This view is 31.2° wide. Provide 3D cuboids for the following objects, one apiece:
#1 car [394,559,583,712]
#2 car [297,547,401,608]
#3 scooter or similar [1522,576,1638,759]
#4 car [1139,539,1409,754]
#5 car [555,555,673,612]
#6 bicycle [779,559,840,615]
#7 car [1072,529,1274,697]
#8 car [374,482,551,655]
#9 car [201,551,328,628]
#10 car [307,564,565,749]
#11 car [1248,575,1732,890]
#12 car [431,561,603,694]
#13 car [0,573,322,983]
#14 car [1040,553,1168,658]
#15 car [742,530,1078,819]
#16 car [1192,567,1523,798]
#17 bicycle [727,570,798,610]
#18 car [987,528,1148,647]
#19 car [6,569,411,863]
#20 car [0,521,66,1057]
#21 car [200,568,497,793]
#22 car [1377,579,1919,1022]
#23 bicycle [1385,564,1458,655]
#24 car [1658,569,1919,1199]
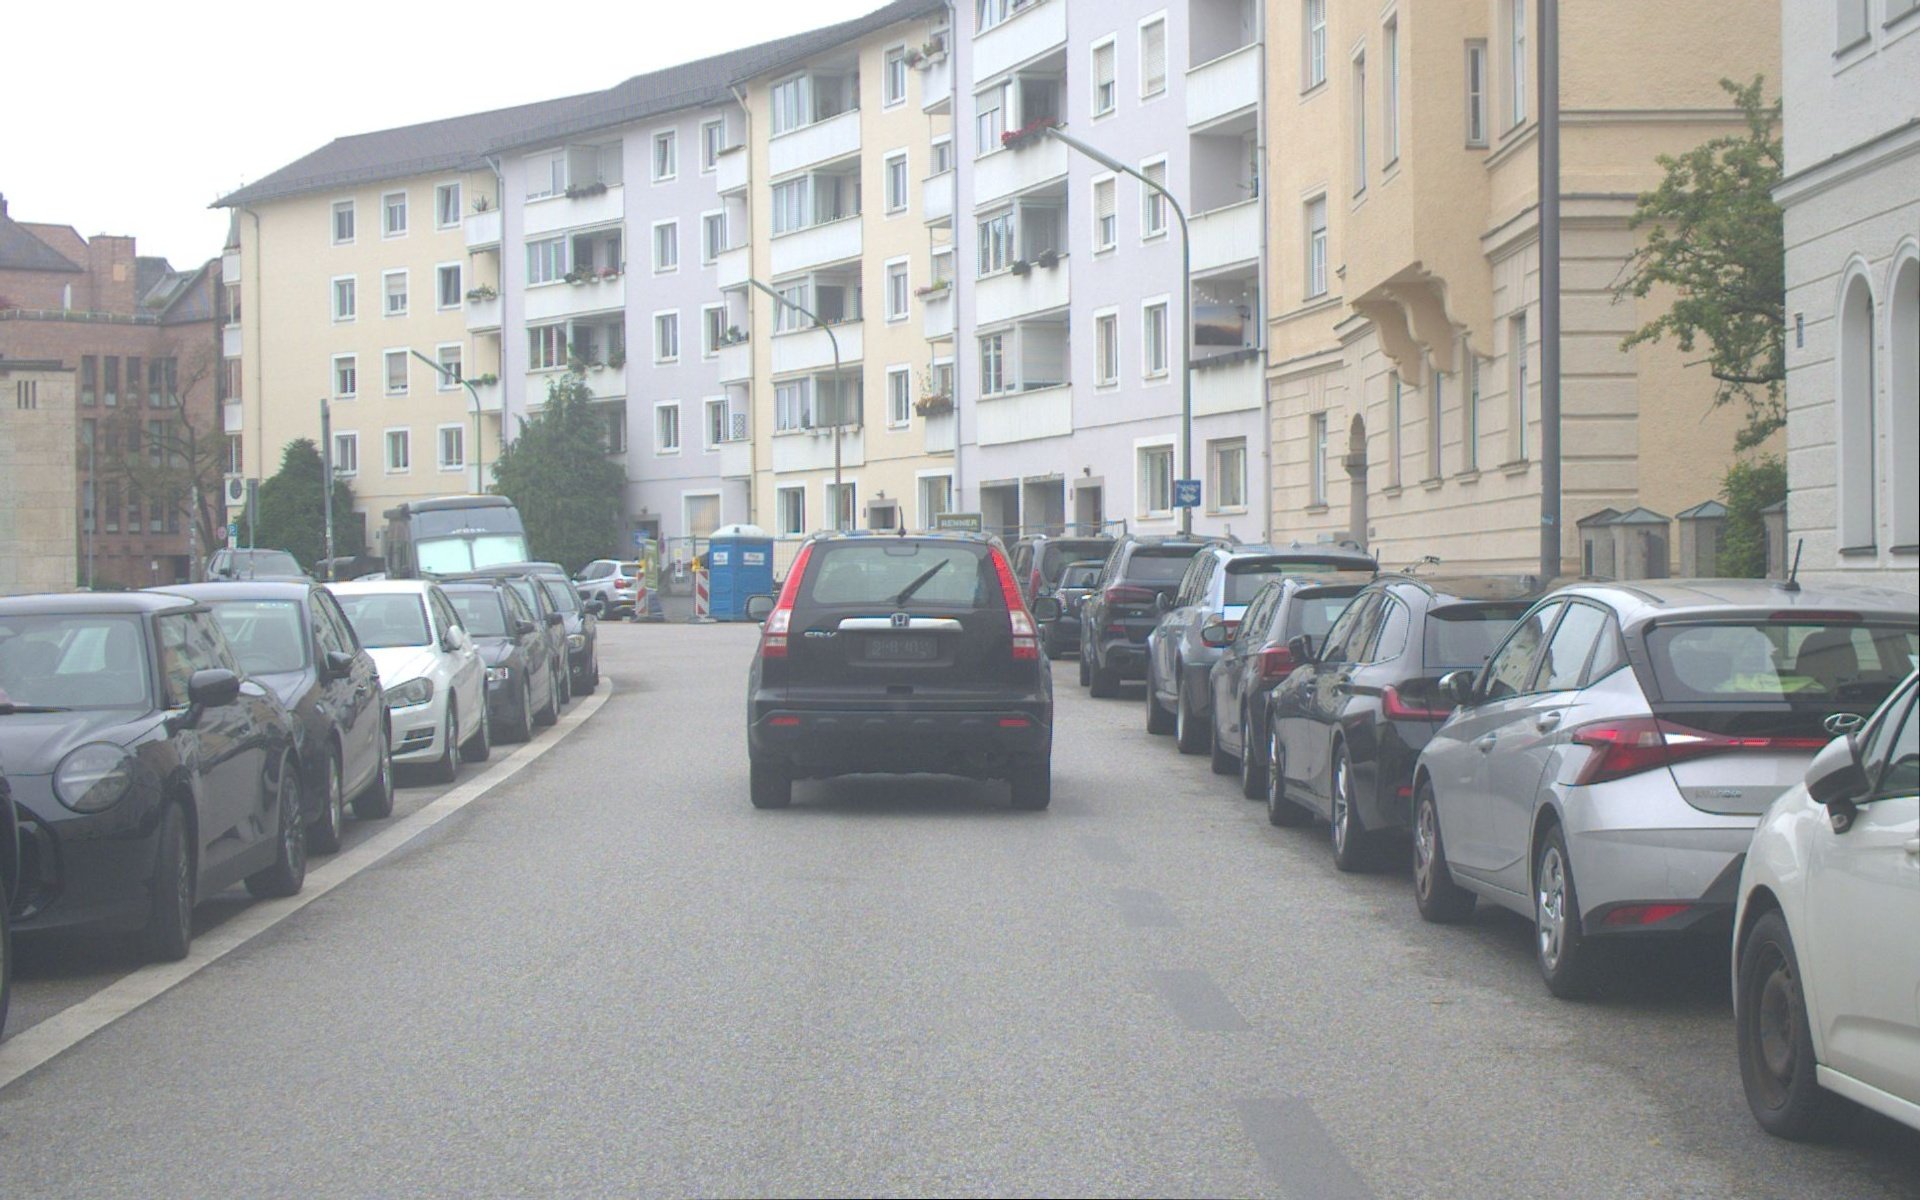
[{"bbox_3d":[-4.836,0.332,35.607,1.656,1.448,3.313,-2,1,-4],"label":"car"},{"bbox_3d":[-19.297,-0.713,108.521,1.724,1.871,4.000,0,1,-34],"label":"car"},{"bbox_3d":[4.049,0.430,22.505,0.484,1.160,1.172,0,0,-3],"label":"scooter or similar"},{"bbox_3d":[2.494,0.328,28.269,1.722,1.628,4.458,0,1,-1],"label":"car"},{"bbox_3d":[-9.257,-0.455,91.826,1.724,1.478,4.001,0,1,-28],"label":"car"},{"bbox_3d":[-3.819,-0.339,87.065,0.968,1.384,2.564,0,1,-16],"label":"bicycle"},{"bbox_3d":[2.294,0.110,38.181,1.869,1.711,4.865,1,1,0],"label":"car"},{"bbox_3d":[-8.259,-0.542,56.630,2.163,2.632,6.019,-2,1,-15],"label":"car"},{"bbox_3d":[-15.937,-0.252,78.637,1.679,1.701,4.514,0,1,-27],"label":"car"},{"bbox_3d":[-4.573,0.444,30.550,1.755,1.448,4.396,-2,1,-3],"label":"car"},{"bbox_3d":[2.600,0.586,17.845,1.679,1.422,4.391,0,1,-2],"label":"car"},{"bbox_3d":[-5.154,0.279,40.434,1.799,1.401,4.456,-2,1,-5],"label":"car"},{"bbox_3d":[-3.859,0.654,14.448,1.680,1.448,3.870,-2,1,-1],"label":"car"},{"bbox_3d":[2.068,0.062,50.274,1.708,1.442,3.830,1,1,0],"label":"car"},{"bbox_3d":[-0.410,0.403,21.596,1.890,1.642,3.992,0,1,-4],"label":"car"},{"bbox_3d":[2.584,0.487,23.187,1.679,1.422,4.087,0,1,-1],"label":"car"},{"bbox_3d":[-5.449,-0.271,94.756,1.865,1.087,0.566,0,0,-22],"label":"bicycle"},{"bbox_3d":[1.674,-0.217,55.178,1.777,1.800,4.277,1,1,-9],"label":"car"},{"bbox_3d":[-4.213,0.581,19.824,1.656,1.448,3.975,-2,1,-4],"label":"car"},{"bbox_3d":[-3.850,0.652,9.237,1.743,1.660,4.449,-4,1,-1],"label":"car"},{"bbox_3d":[-4.418,0.526,25.344,1.656,1.448,4.074,-2,1,-4],"label":"car"},{"bbox_3d":[2.778,0.638,13.265,1.679,1.422,4.167,0,1,-2],"label":"car"},{"bbox_3d":[5.768,0.105,43.013,0.579,1.079,1.953,-3,1,-1],"label":"bicycle"},{"bbox_3d":[2.951,0.666,7.966,1.679,1.476,4.167,0,1,-2],"label":"car"}]
